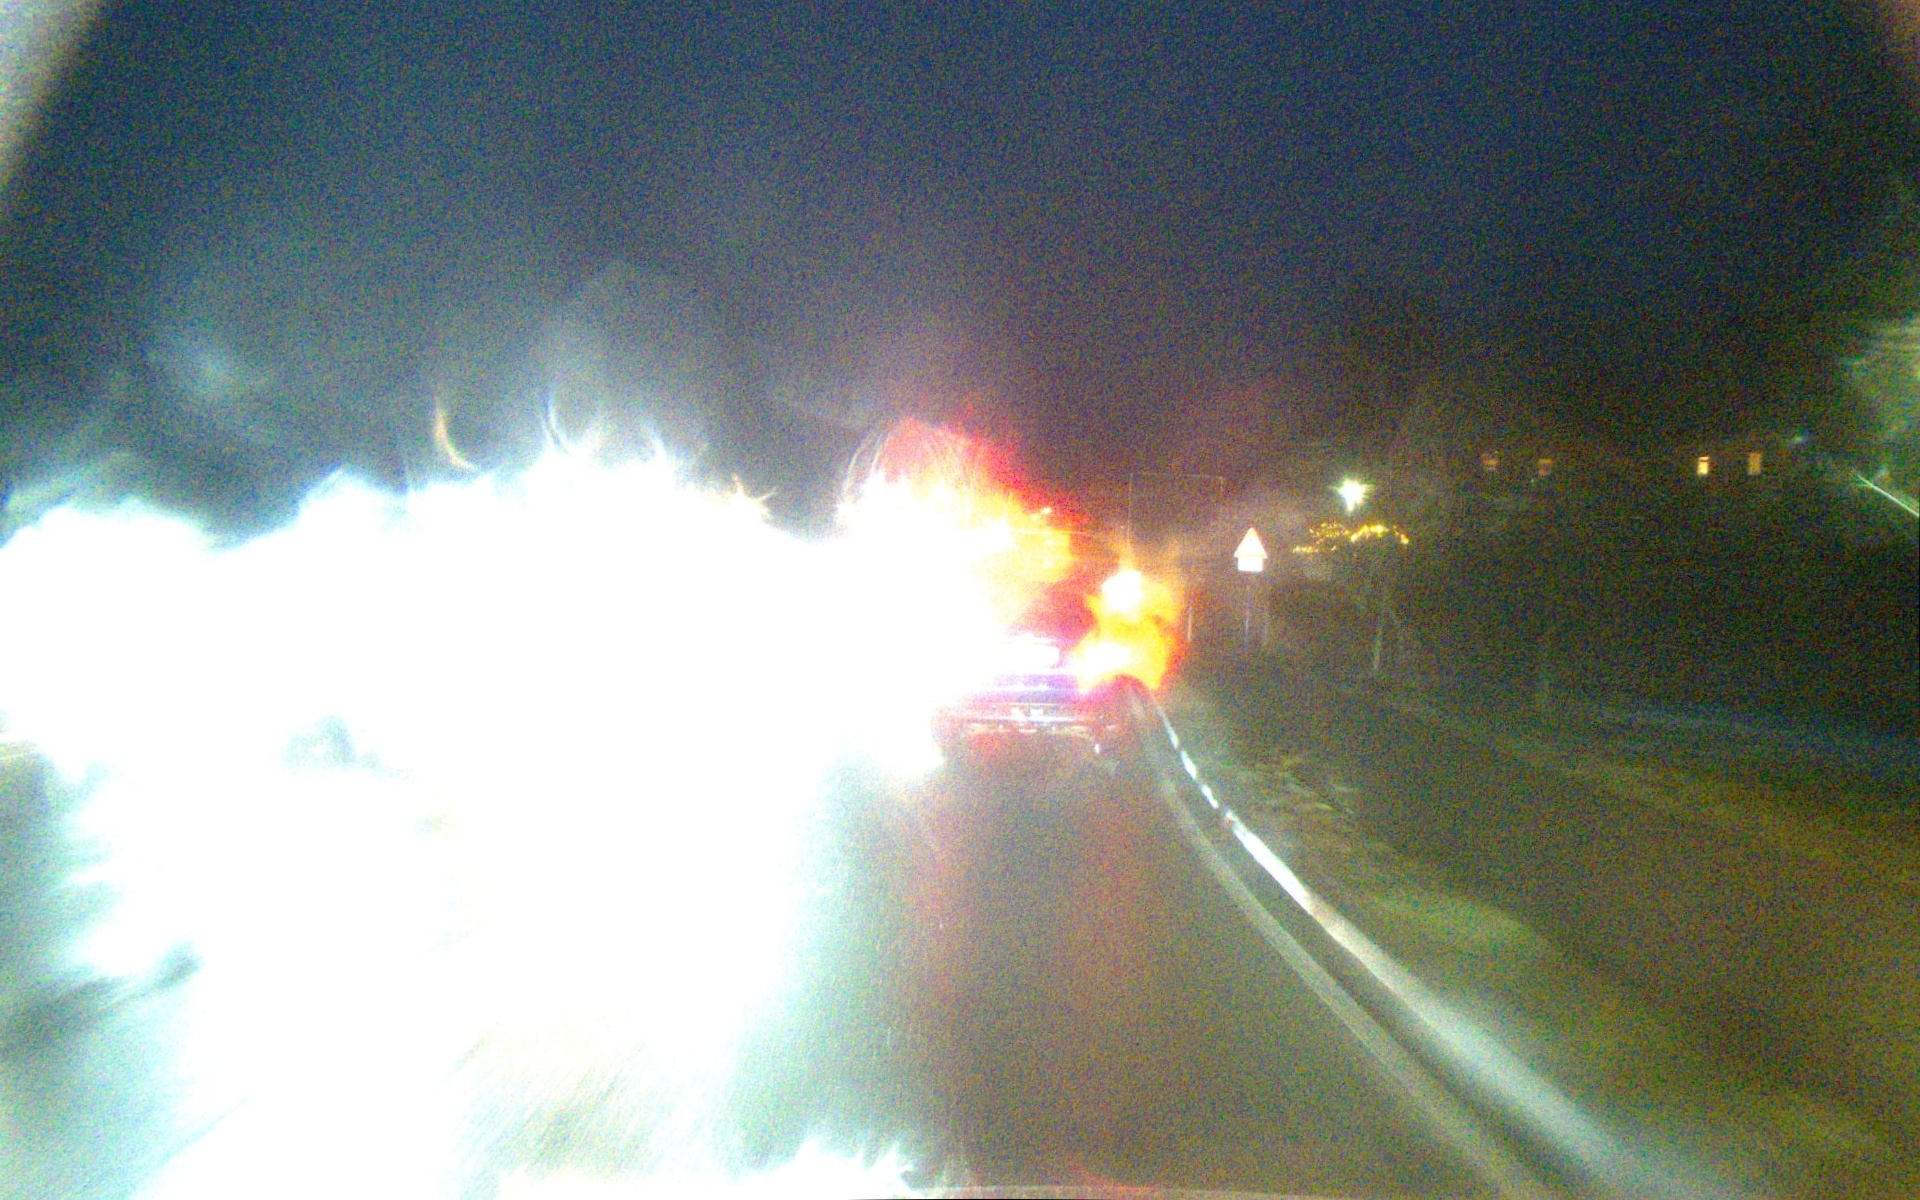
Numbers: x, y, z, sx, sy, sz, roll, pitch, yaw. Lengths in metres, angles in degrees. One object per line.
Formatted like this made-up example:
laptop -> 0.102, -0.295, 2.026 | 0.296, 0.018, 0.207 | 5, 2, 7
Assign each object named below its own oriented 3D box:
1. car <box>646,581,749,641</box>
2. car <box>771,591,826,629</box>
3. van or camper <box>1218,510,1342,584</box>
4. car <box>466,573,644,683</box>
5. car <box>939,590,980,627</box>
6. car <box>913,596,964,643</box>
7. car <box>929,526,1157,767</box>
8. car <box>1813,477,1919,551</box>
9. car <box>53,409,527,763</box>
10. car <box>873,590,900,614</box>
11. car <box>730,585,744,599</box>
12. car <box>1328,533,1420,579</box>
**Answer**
car -> -6.918, 0.252, 44.126 | 2.035, 1.474, 4.991 | 1, 0, -1
car -> -6.573, 0.389, 67.839 | 1.879, 1.469, 4.544 | 1, 0, -2
van or camper -> 13.450, -2.161, 70.028 | 2.538, 2.959, 6.331 | 1, 0, -16
car -> -6.269, 0.390, 26.023 | 1.840, 1.564, 3.987 | 1, 0, -1
car -> -0.015, 0.390, 76.947 | 1.673, 1.666, 3.732 | 0, 0, 4
car -> -0.762, 0.712, 61.786 | 1.659, 1.658, 3.853 | 2, 0, 2
car -> 0.754, 0.376, 16.192 | 1.902, 2.006, 4.219 | 1, 0, 1
car -> 21.791, -1.967, 38.126 | 1.585, 1.498, 3.986 | 1, 0, -14
car -> -6.123, -0.133, 16.222 | 2.079, 2.755, 6.240 | 1, 0, 0
car -> -4.794, 0.090, 108.444 | 1.660, 1.459, 4.291 | 2, 1, -2
car -> -32.098, -1.165, 238.516 | 1.956, 1.945, 4.735 | 1, 0, -8
car -> 15.776, -1.650, 63.216 | 1.608, 1.646, 4.119 | 1, 0, -14
